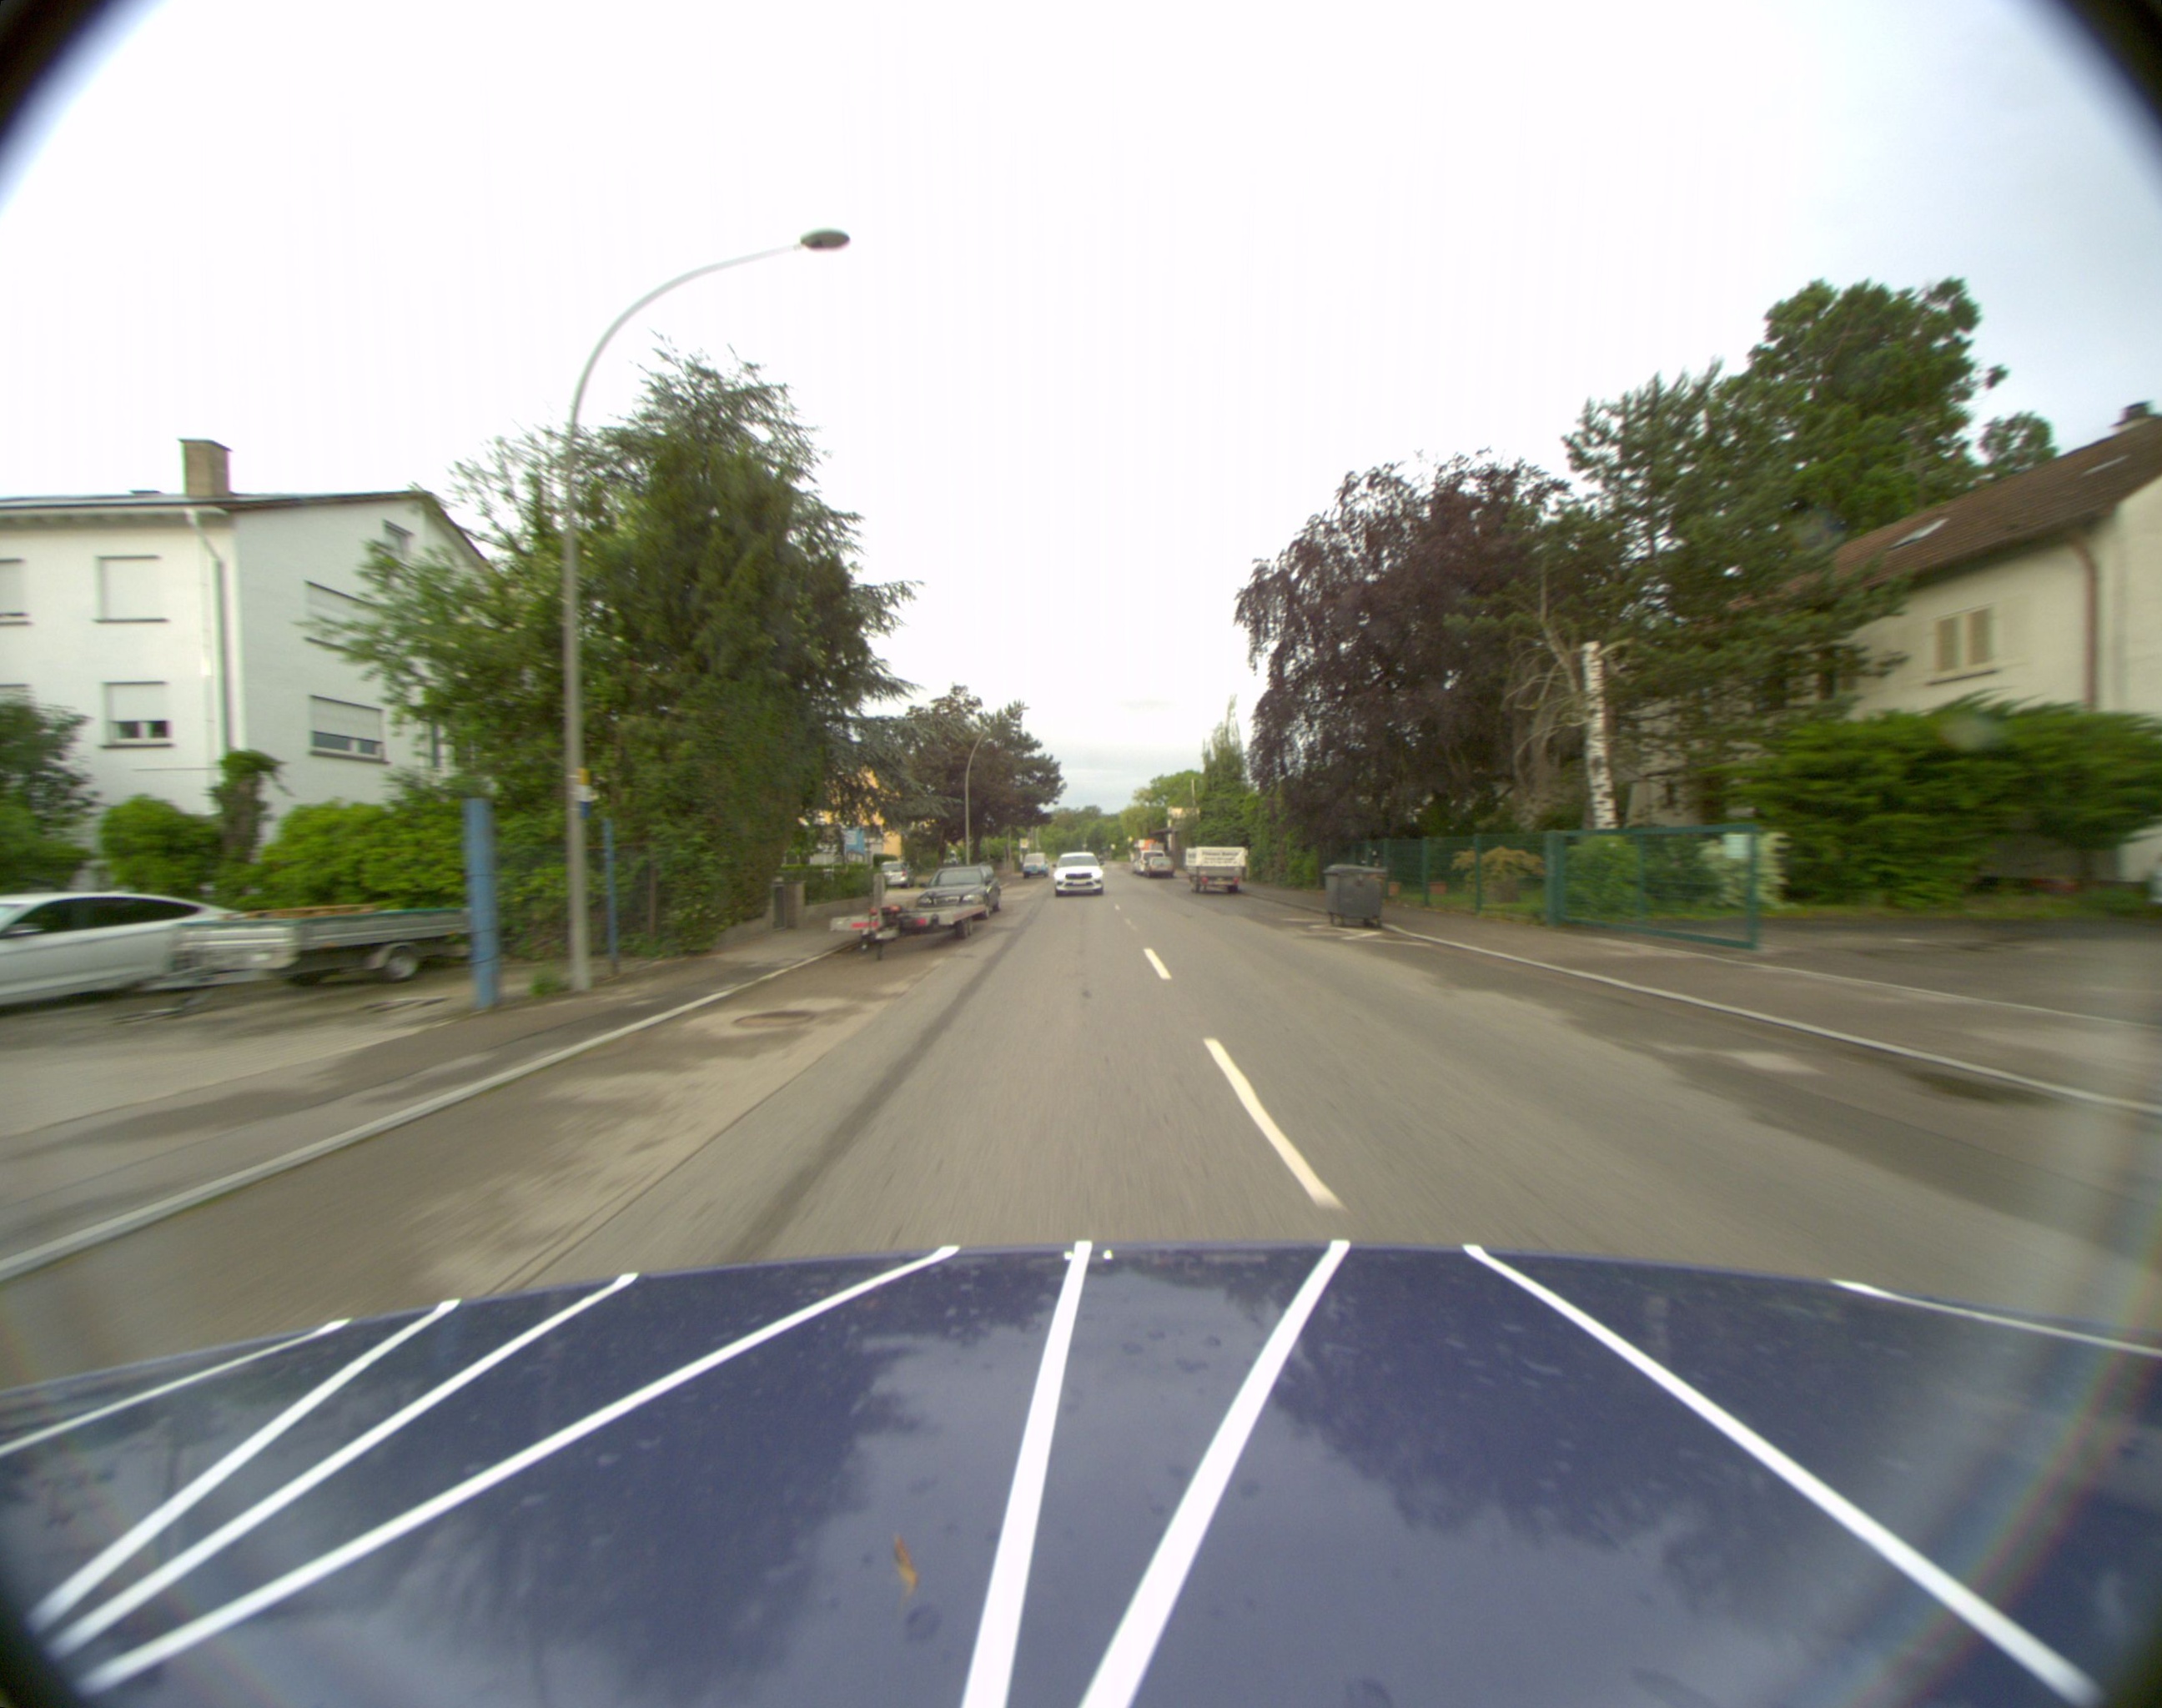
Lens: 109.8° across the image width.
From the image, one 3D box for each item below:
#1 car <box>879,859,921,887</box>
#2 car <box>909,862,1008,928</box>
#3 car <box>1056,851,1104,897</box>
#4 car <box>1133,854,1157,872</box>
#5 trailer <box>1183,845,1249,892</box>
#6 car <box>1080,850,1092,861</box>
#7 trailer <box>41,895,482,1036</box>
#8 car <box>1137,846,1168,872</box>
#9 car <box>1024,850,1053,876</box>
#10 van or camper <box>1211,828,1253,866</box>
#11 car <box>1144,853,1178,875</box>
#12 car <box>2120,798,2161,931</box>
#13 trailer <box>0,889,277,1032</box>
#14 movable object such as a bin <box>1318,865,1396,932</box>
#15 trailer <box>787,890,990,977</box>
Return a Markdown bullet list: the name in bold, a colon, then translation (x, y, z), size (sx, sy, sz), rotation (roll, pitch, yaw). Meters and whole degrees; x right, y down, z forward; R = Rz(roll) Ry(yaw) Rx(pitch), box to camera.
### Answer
- **car**: translation (-10.624, 1.101, 44.935), size (1.749, 1.479, 4.116), rotation (-2, 0, -5)
- **car**: translation (-3.242, 1.037, 21.103), size (1.744, 1.424, 4.648), rotation (-4, 1, 2)
- **car**: translation (-0.098, 0.736, 30.518), size (1.692, 1.651, 3.999), rotation (-3, 1, -2)
- **car**: translation (5.364, 0.721, 63.765), size (1.642, 1.357, 4.706), rotation (0, 1, 0)
- **trailer**: translation (5.502, 0.554, 31.580), size (1.934, 1.755, 4.548), rotation (-2, 0, 1)
- **car**: translation (0.855, 0.243, 121.949), size (1.898, 1.678, 4.230), rotation (0, 1, 1)
- **trailer**: translation (-10.587, 1.338, 10.333), size (1.619, 1.268, 3.892), rotation (-2, 1, 3)
- **car**: translation (5.352, 0.339, 57.624), size (1.898, 1.881, 5.210), rotation (0, 1, 1)
- **car**: translation (-3.249, 0.649, 58.988), size (1.736, 1.817, 5.553), rotation (-4, 0, 1)
- **van or camper**: translation (13.180, -0.605, 66.796), size (2.309, 3.018, 6.150), rotation (-3, 1, -1)
- **car**: translation (5.435, 0.664, 52.222), size (1.821, 1.419, 4.980), rotation (0, 1, 1)
- **car**: translation (17.472, 0.042, 9.866), size (5.010, 1.846, 2.000), rotation (-3, 1, 2)
- **trailer**: translation (-13.718, 1.361, 9.746), size (1.773, 1.511, 4.803), rotation (-1, 1, -2)
- **movable object such as a bin**: translation (5.882, 0.922, 16.264), size (1.103, 1.303, 1.425), rotation (-3, 1, 0)
- **trailer**: translation (-3.264, 1.349, 14.644), size (2.179, 0.892, 6.636), rotation (-3, 0, 0)
